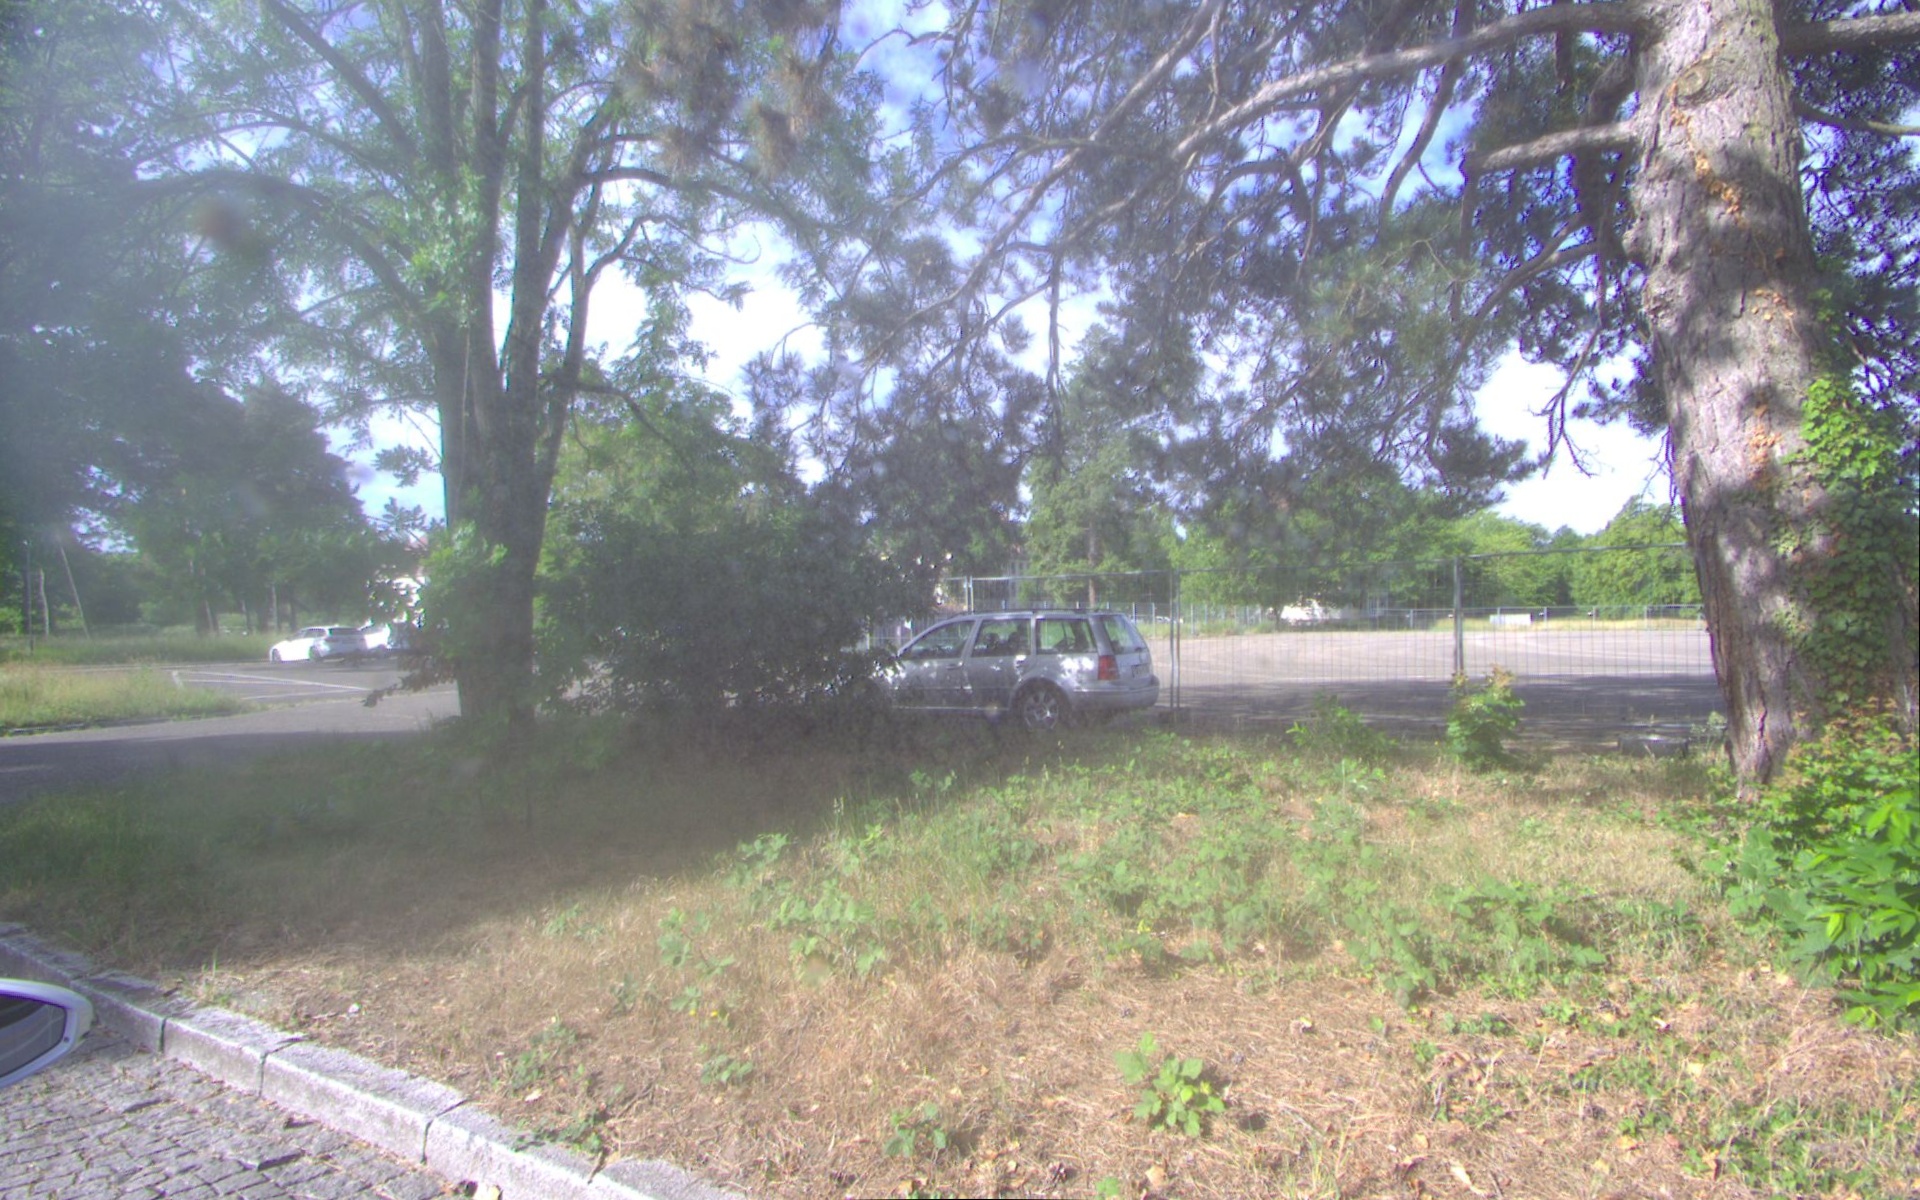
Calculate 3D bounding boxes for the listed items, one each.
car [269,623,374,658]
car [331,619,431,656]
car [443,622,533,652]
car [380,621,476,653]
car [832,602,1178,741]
[{"bbox_3d":[-25.811,1.598,40.478,4.265,1.329,1.729,-1,-1,28],"label":"car"},{"bbox_3d":[-24.766,1.599,42.794,4.265,1.496,1.729,-1,-1,28],"label":"car"},{"bbox_3d":[-22.486,1.761,47.678,4.265,1.329,1.729,-1,0,28],"label":"car"},{"bbox_3d":[-23.908,1.662,44.955,4.265,1.329,1.729,-1,0,28],"label":"car"},{"bbox_3d":[0.520,0.803,12.365,3.938,1.487,1.666,-1,-1,28],"label":"car"}]
